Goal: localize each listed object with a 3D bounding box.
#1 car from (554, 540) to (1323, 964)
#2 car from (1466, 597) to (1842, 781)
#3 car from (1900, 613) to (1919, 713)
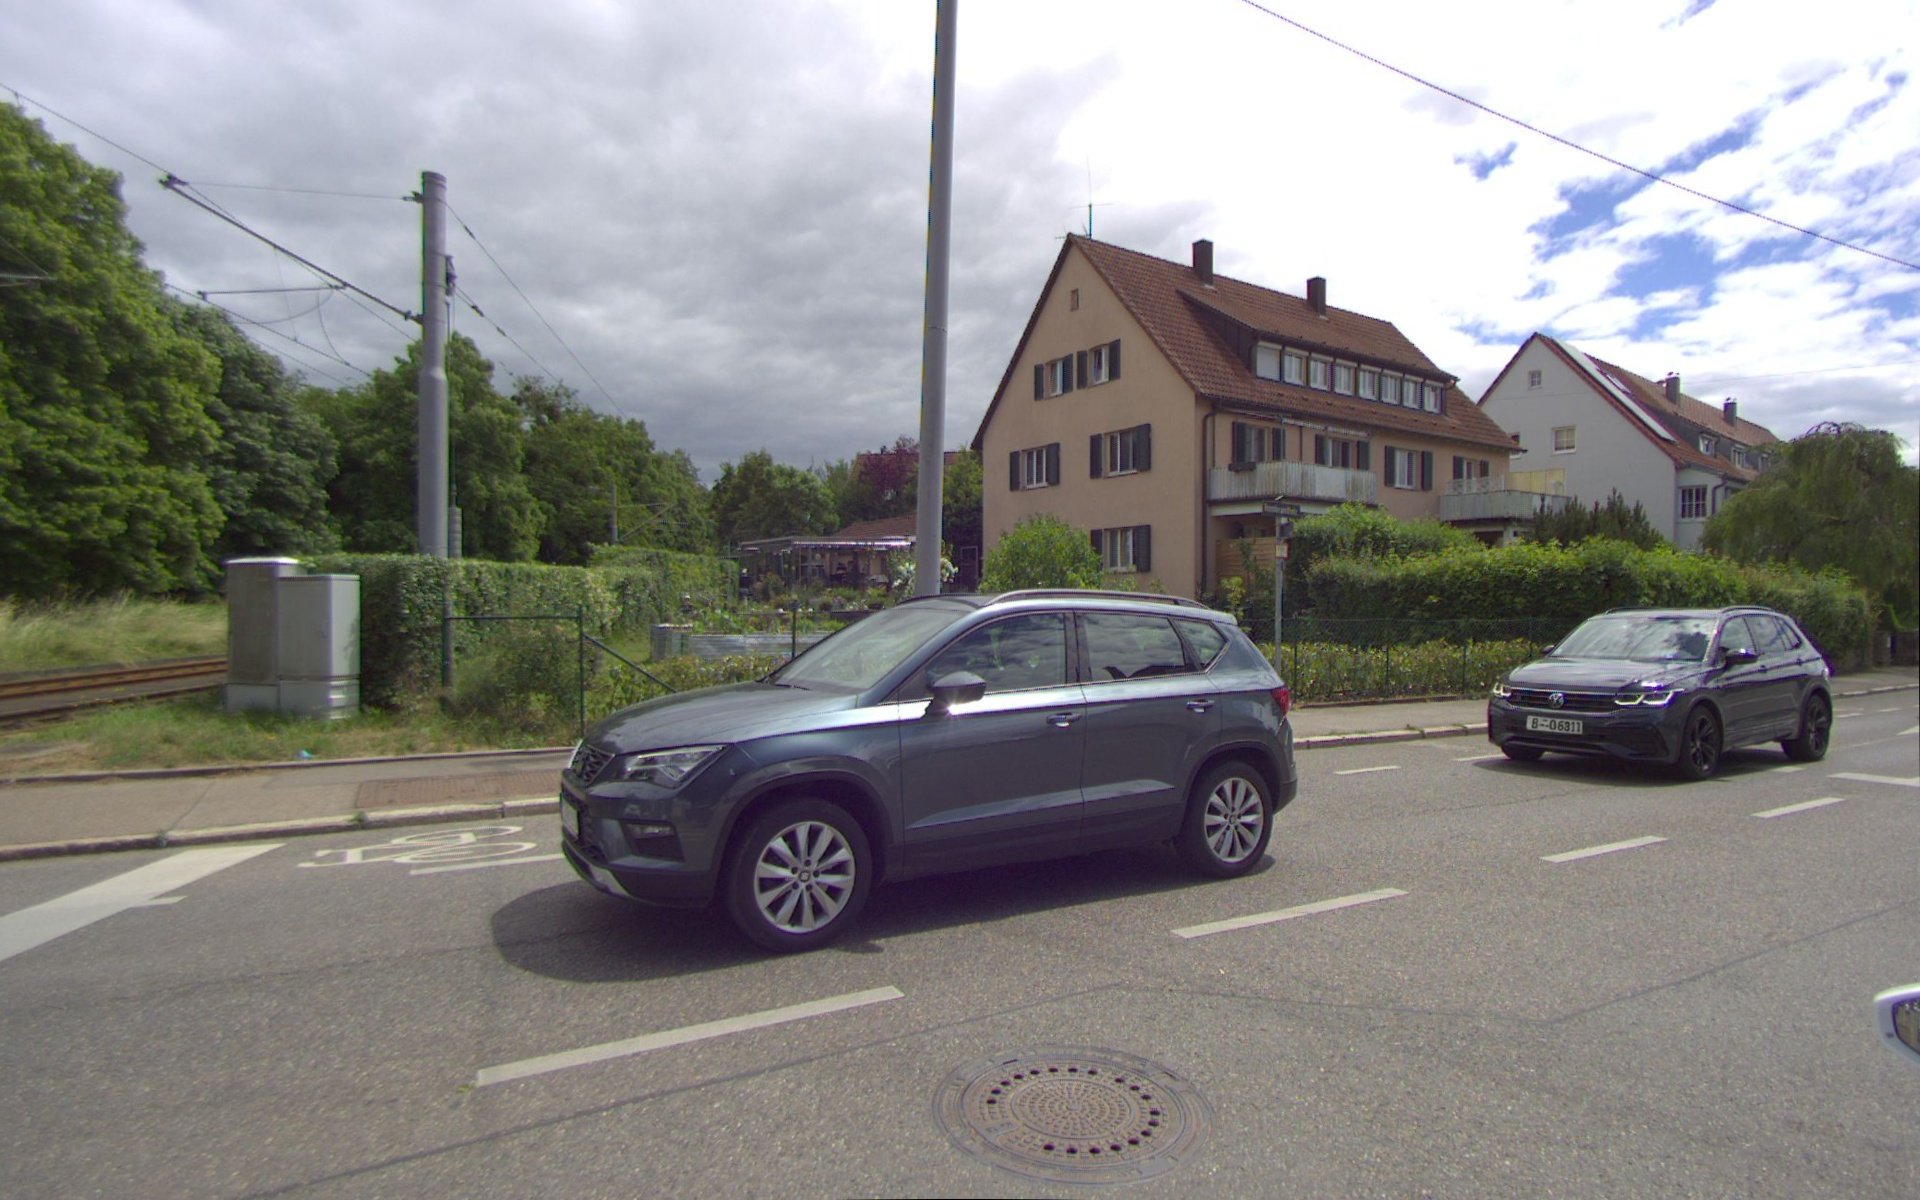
[{"bbox_3d":[-0.008,0.665,5.660,3.993,1.624,1.766,2,-3,-31],"label":"car"},{"bbox_3d":[7.454,0.841,10.711,4.121,1.624,1.766,1,-2,-31],"label":"car"},{"bbox_3d":[17.243,0.993,16.340,4.121,1.582,1.766,1,-3,-31],"label":"car"}]
